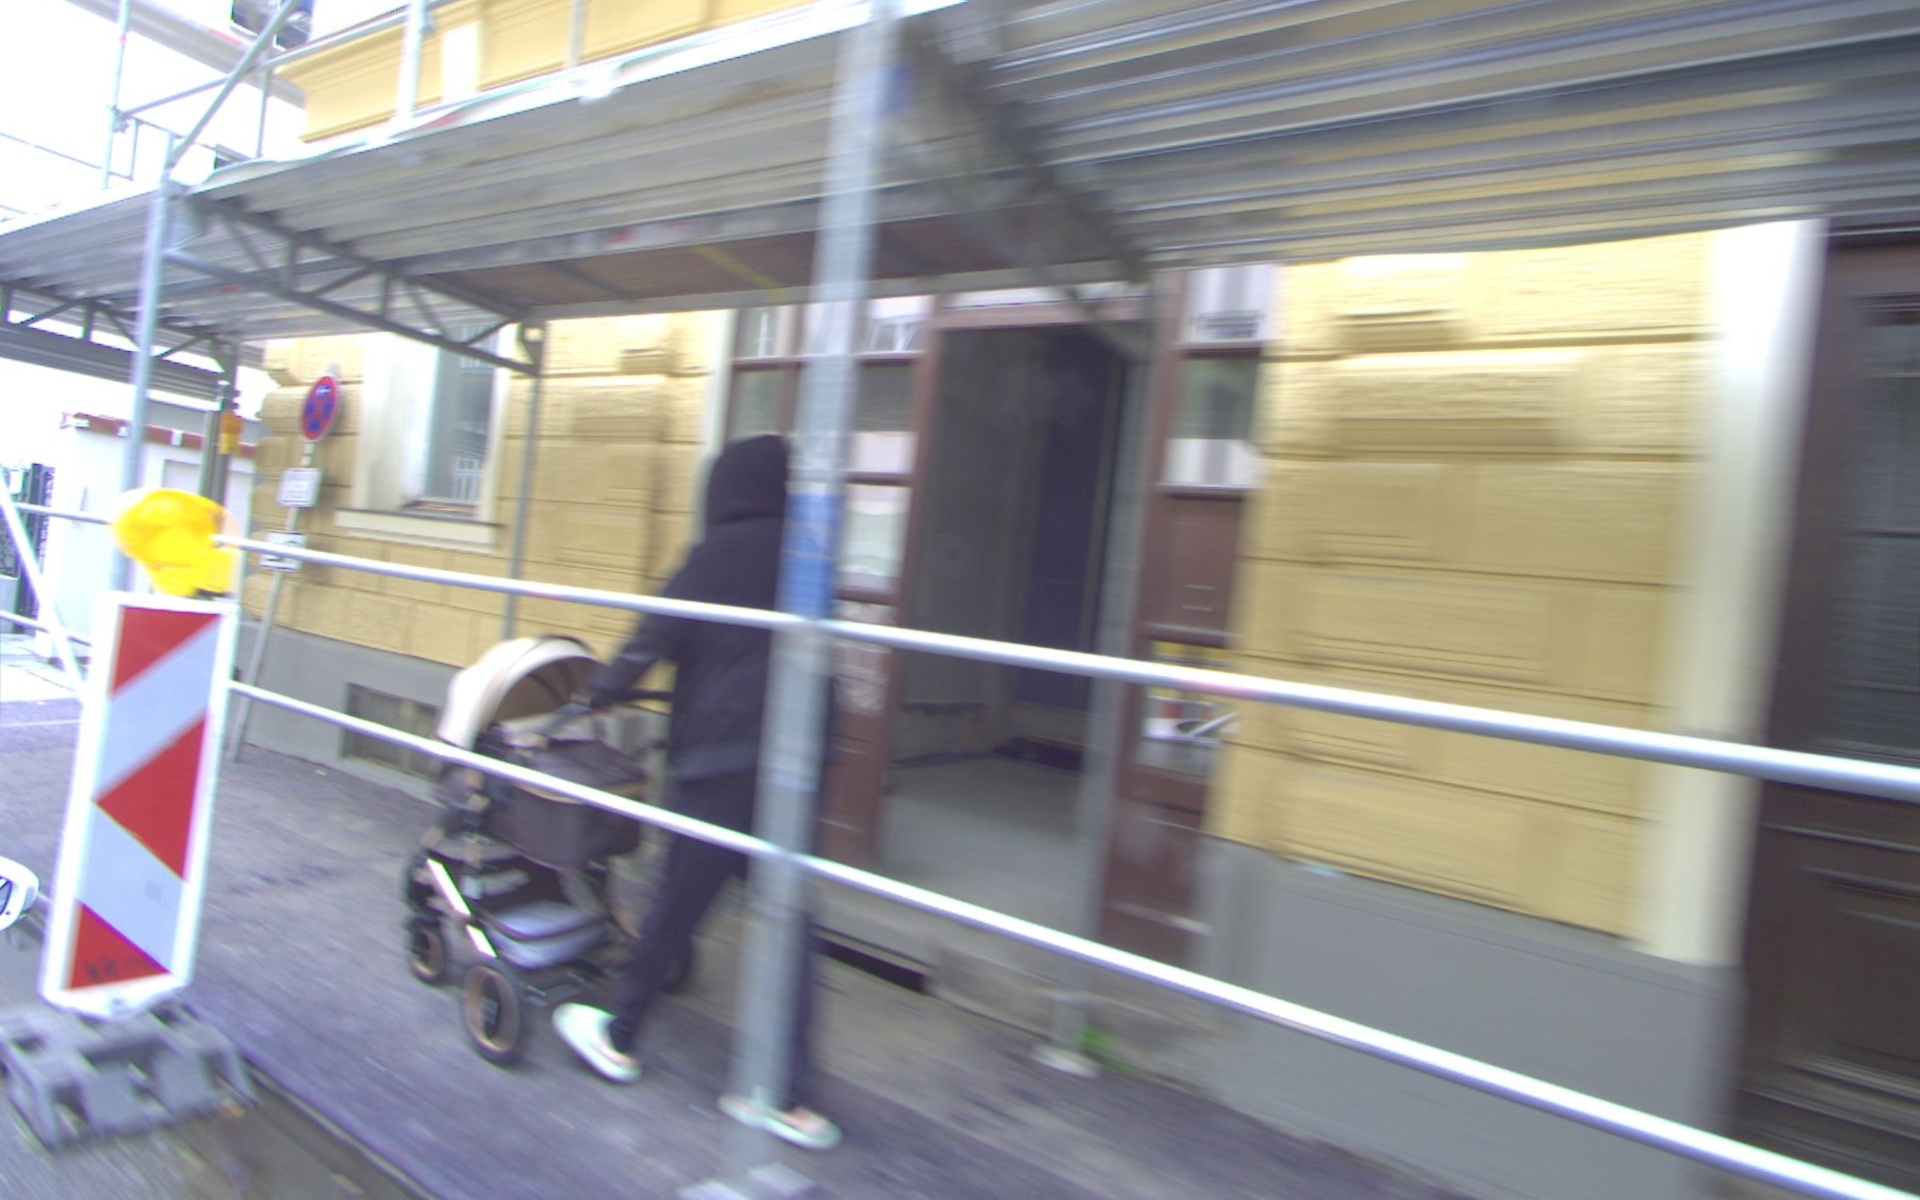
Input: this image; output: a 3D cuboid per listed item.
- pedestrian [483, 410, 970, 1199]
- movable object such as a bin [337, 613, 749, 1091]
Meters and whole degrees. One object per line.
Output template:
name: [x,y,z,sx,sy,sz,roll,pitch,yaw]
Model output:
pedestrian: [-0.643,0.433,2.773,0.972,1.777,0.729,7,4,31]
movable object such as a bin: [-1.314,0.673,3.179,0.971,1.157,0.729,7,5,31]
